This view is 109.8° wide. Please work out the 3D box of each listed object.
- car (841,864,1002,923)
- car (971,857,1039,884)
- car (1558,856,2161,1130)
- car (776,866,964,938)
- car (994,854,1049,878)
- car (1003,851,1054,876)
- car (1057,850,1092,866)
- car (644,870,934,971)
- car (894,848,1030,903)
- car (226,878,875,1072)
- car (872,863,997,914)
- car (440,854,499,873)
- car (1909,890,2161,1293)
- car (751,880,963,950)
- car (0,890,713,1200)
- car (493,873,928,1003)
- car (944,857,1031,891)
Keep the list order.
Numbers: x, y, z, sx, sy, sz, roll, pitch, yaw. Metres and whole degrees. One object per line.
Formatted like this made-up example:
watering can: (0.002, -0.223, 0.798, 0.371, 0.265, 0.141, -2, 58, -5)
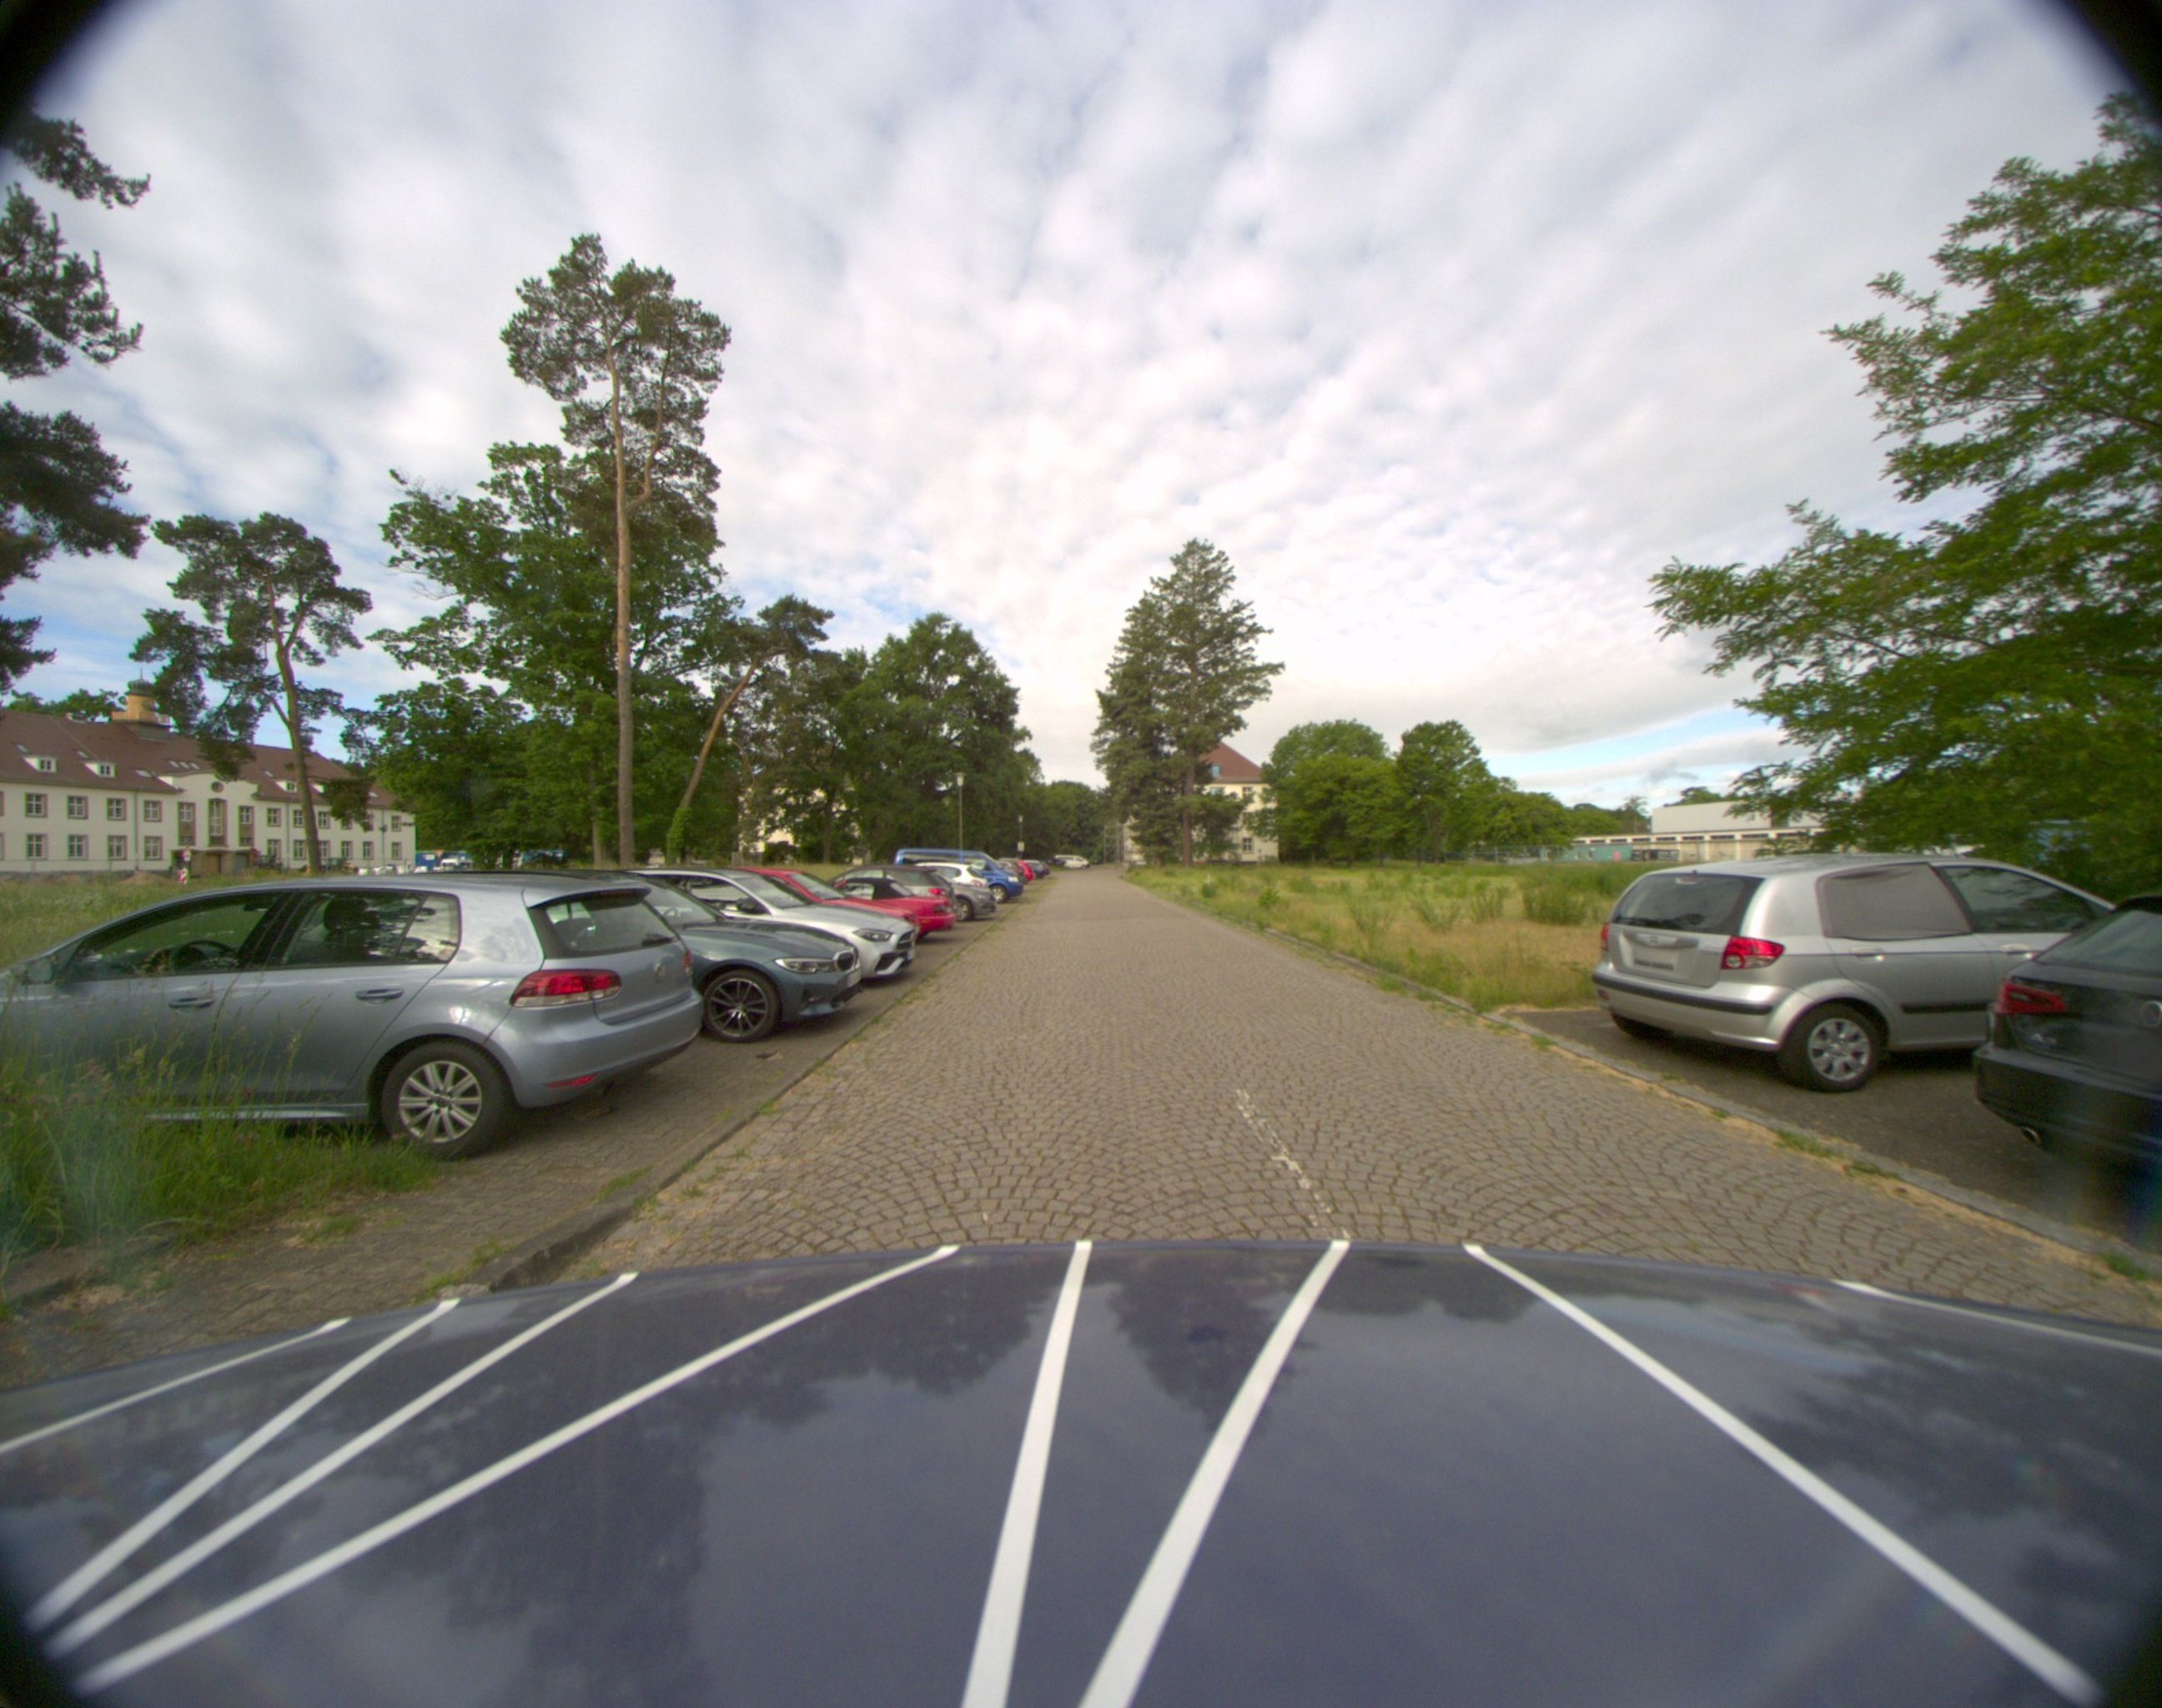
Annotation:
car: (-4.136, 1.017, 20.133, 3.848, 1.448, 1.820, 0, 0, 2)
car: (-4.749, 1.023, 47.653, 3.997, 1.521, 2.000, -2, 0, 0)
car: (5.920, 0.837, 5.592, 3.688, 1.444, 1.807, -3, 0, -4)
car: (-4.668, 1.049, 17.244, 3.787, 1.497, 1.799, 0, 0, -2)
car: (-4.506, 0.878, 57.901, 4.007, 1.752, 2.000, 0, 0, 1)
car: (-4.258, 0.776, 62.298, 3.996, 2.002, 2.000, 0, 0, 1)
car: (-0.941, 0.588, 111.172, 5.031, 2.164, 2.000, -1, 0, 2)
car: (-4.542, 1.016, 12.270, 3.972, 1.443, 1.800, 0, 0, 0)
car: (-4.347, 0.773, 28.380, 4.749, 1.928, 2.000, 0, 0, 0)
car: (-4.558, 1.011, 7.148, 4.770, 1.474, 1.761, 0, 0, -3)
car: (-4.363, 1.016, 22.957, 3.408, 1.443, 1.637, 0, 0, 1)
car: (-68.203, 1.037, 84.821, 2.153, 2.002, 5.225, 0, 0, 3)
car: (6.042, 0.848, 2.842, 3.997, 1.419, 1.750, -3, 0, -1)
car: (-4.186, 1.138, 14.557, 3.600, 1.200, 1.495, 0, 0, 1)
car: (-4.472, 0.975, 4.514, 3.773, 1.418, 1.605, 1, 0, -1)
car: (-4.577, 1.019, 9.927, 4.769, 1.474, 1.812, 0, 0, 0)
car: (-4.533, 0.953, 37.321, 3.997, 1.601, 2.000, 0, 0, 0)
